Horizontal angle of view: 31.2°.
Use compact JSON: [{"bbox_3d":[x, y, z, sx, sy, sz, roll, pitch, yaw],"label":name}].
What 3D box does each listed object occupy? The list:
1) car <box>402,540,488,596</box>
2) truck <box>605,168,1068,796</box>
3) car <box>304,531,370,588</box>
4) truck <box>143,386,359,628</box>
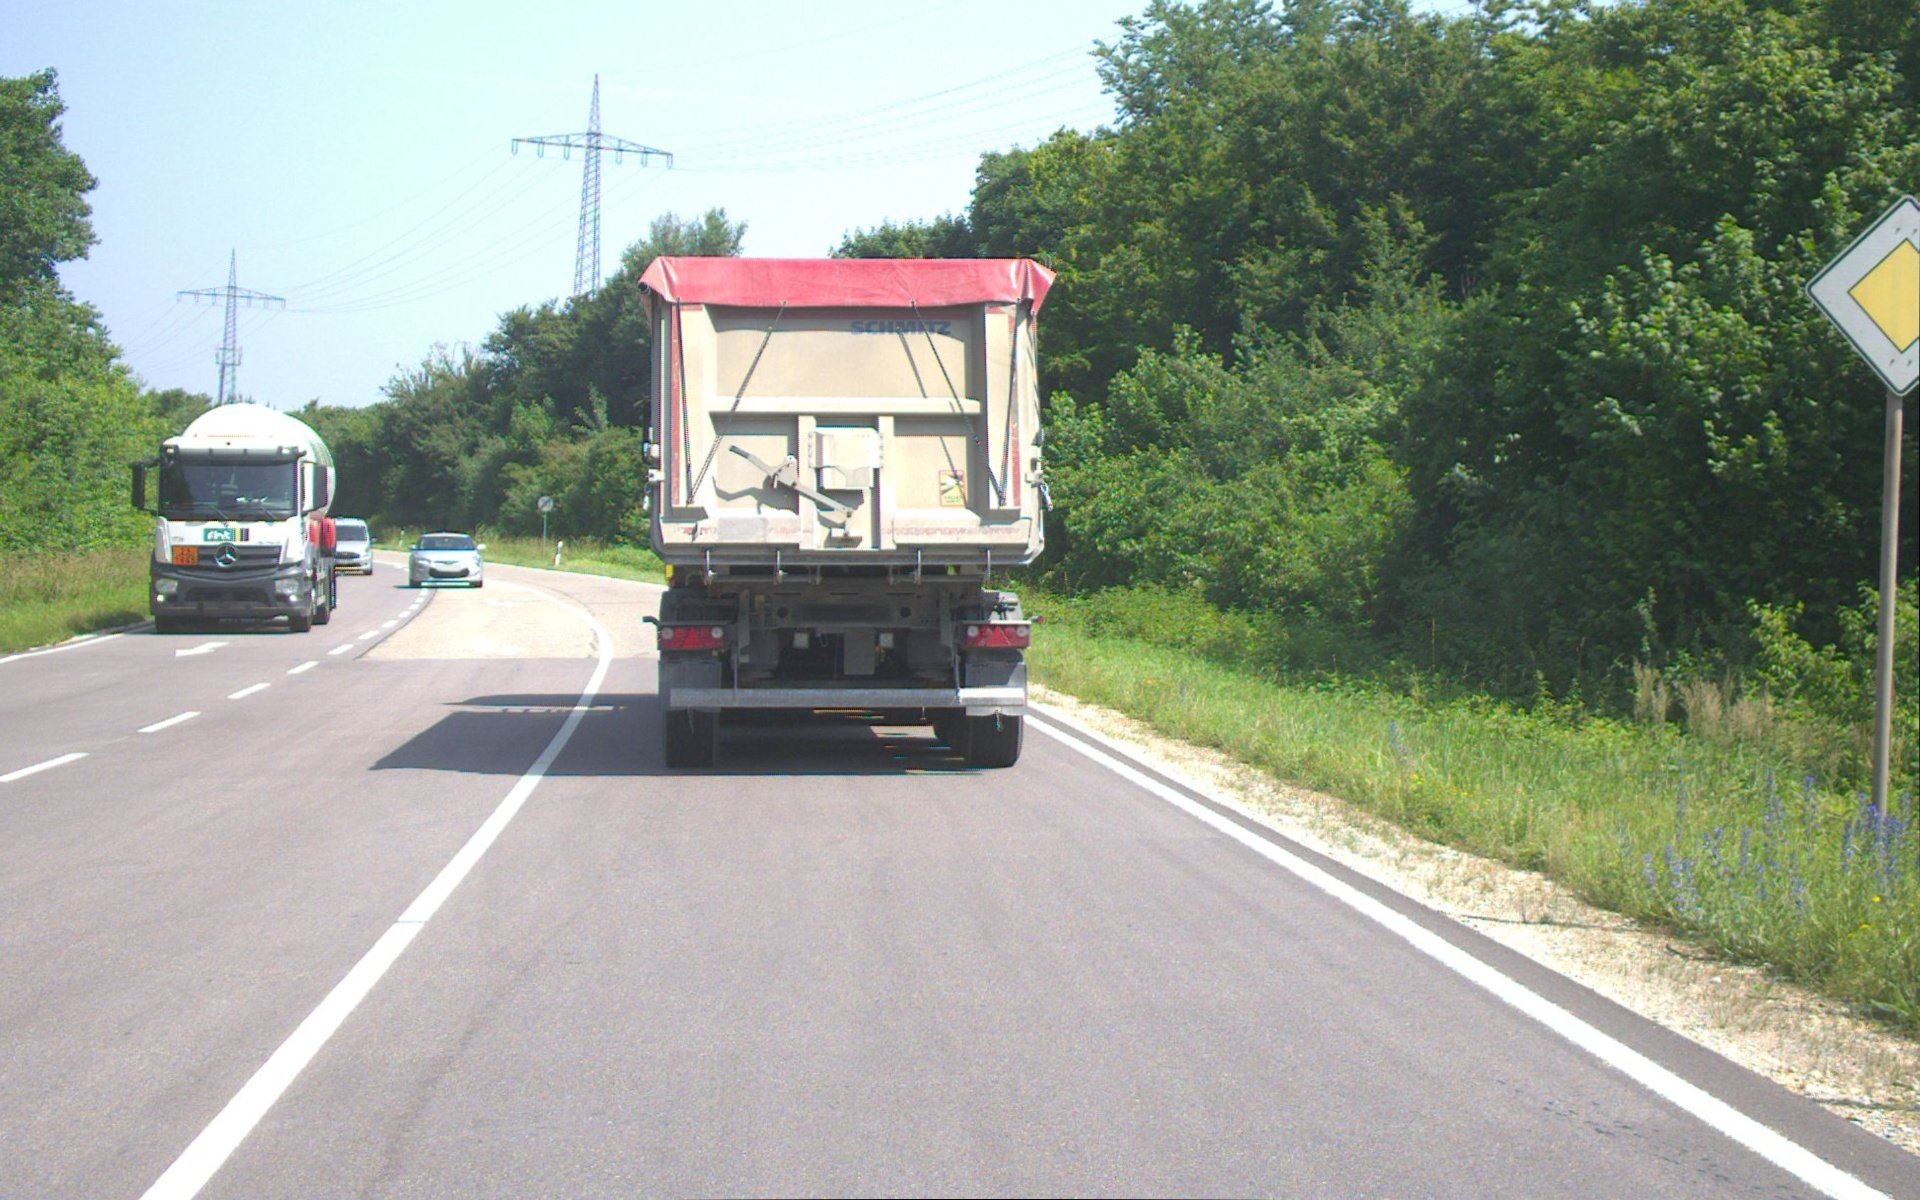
[{"bbox_3d":[-13.307,-0.811,88.998,1.708,1.414,4.098,0,0,-2],"label":"car"},{"bbox_3d":[-1.168,-0.890,27.714,2.893,3.949,11.935,0,1,-4],"label":"truck"},{"bbox_3d":[-19.860,-1.269,109.746,1.842,1.773,4.894,0,0,-8],"label":"car"},{"bbox_3d":[-11.564,-1.474,56.756,2.626,3.658,8.798,0,1,-6],"label":"truck"}]
